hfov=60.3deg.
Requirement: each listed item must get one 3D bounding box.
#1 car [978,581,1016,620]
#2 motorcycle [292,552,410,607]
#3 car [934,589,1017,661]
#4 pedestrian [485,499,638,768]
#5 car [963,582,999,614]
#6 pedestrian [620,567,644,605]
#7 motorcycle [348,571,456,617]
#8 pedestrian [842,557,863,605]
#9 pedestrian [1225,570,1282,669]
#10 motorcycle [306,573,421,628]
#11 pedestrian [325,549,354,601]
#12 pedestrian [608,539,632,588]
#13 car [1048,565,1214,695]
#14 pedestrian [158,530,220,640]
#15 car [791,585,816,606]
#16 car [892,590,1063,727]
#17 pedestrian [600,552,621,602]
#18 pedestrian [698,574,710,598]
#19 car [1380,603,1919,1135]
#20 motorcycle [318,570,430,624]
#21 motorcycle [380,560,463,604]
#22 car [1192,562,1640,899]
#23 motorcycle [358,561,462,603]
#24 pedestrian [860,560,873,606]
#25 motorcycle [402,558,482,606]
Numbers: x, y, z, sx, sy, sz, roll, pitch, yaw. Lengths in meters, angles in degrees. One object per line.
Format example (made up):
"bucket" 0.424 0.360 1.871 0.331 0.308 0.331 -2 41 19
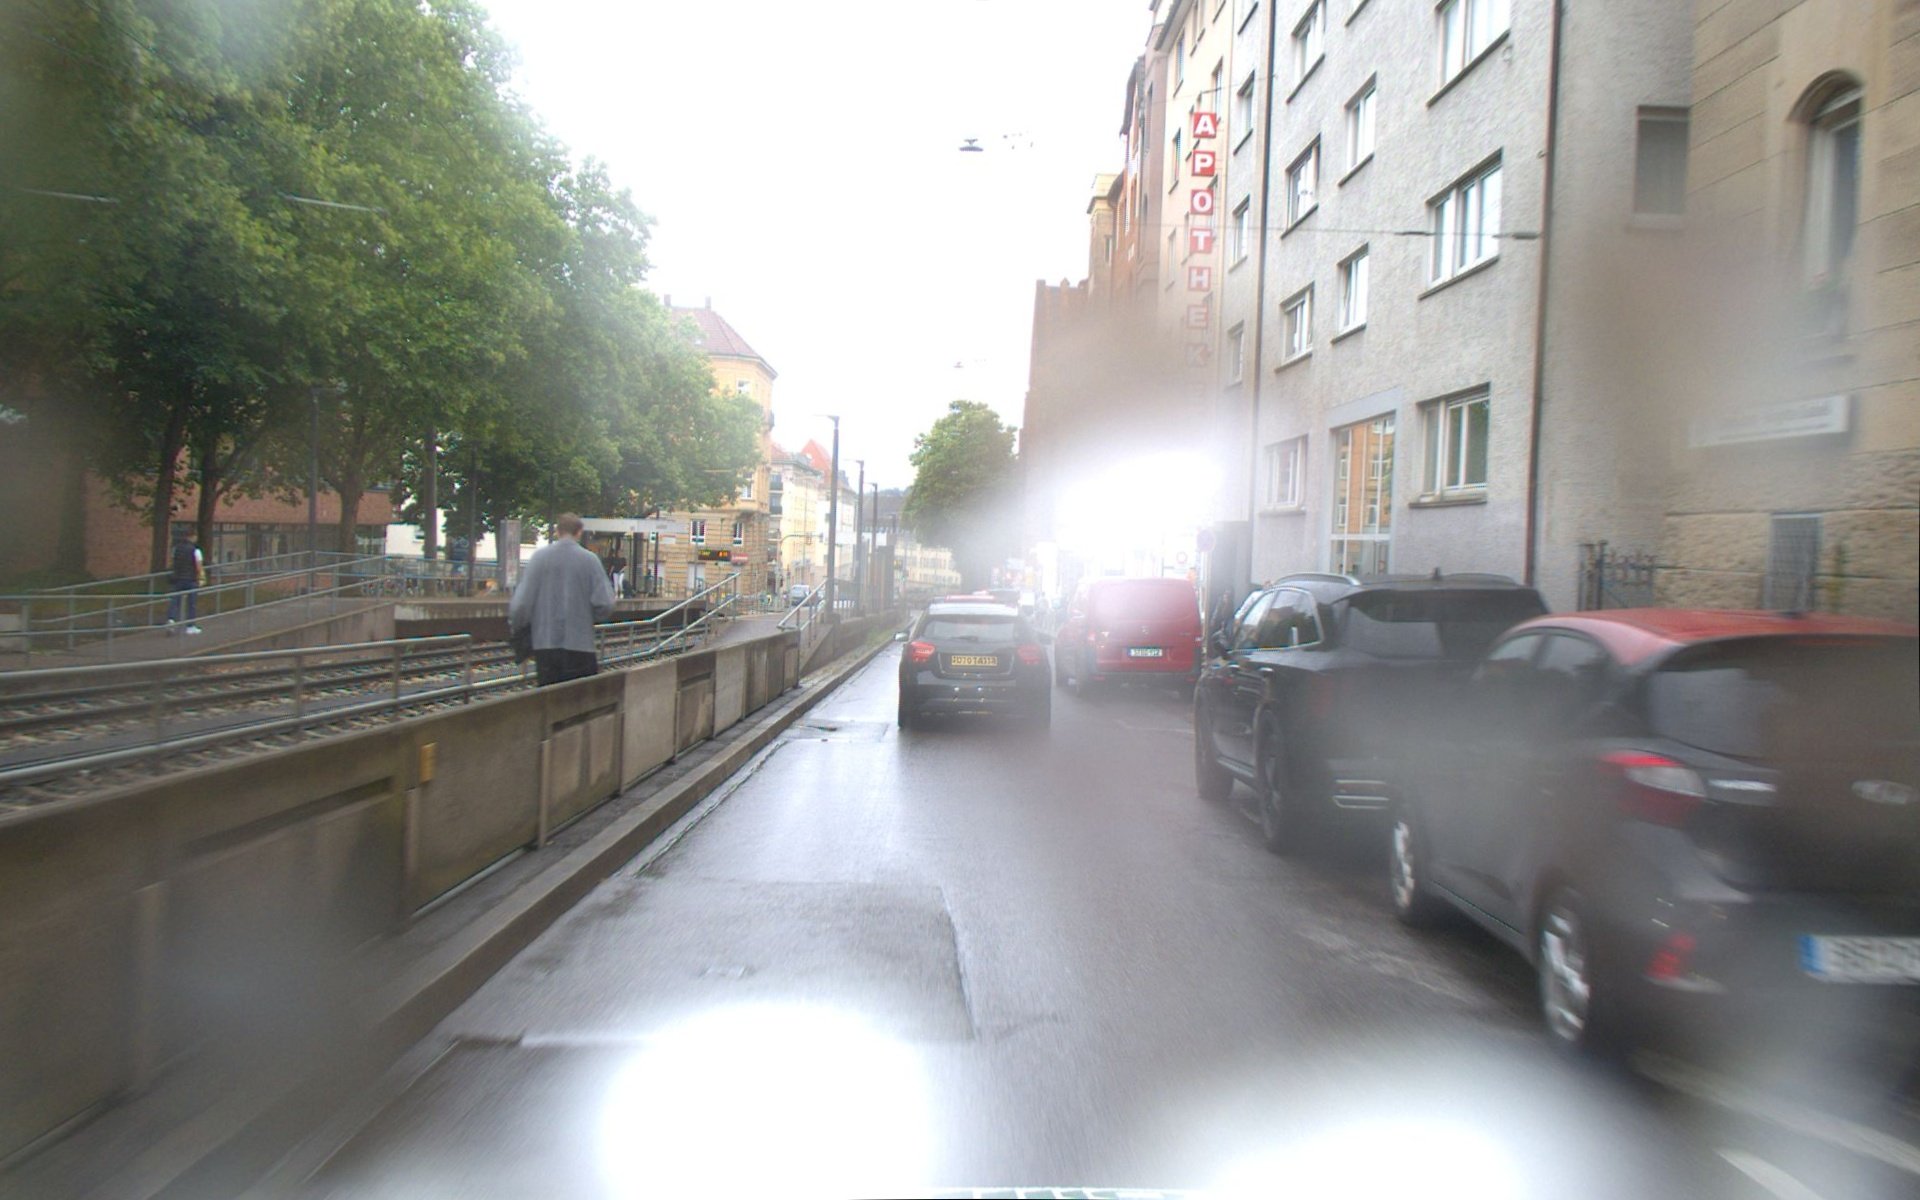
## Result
"car" 1.896 0.038 86.907 1.881 1.969 4.685 2 0 1
"motorcycle" -21.896 -0.726 59.558 3.786 1.805 1.006 2 0 -2
"car" 0.309 0.534 37.229 1.646 1.515 3.611 1 0 -2
"pedestrian" -2.840 0.229 11.854 0.842 1.830 0.787 2 0 -1
"car" 1.253 -0.144 102.265 1.895 1.863 4.278 2 0 -3
"pedestrian" -12.342 -0.546 62.261 0.762 1.386 0.564 3 0 -3
"motorcycle" -21.698 -0.232 64.409 3.786 1.633 1.006 2 0 -2
"pedestrian" -3.745 -0.659 57.699 0.485 1.633 0.637 1 0 16
"pedestrian" 5.487 0.364 30.970 0.834 1.788 0.837 3 0 0
"motorcycle" -22.000 0.014 61.037 3.786 1.847 1.006 2 0 -2
"pedestrian" -24.598 -0.986 65.591 0.718 2.049 0.980 2 0 -1
"pedestrian" -11.852 -1.265 57.668 0.672 1.670 0.564 3 0 -3
"car" 2.671 0.454 27.021 1.935 1.870 5.243 2 0 -2
"pedestrian" -12.284 -0.247 26.360 0.644 1.691 0.688 2 4 -1
"car" -14.370 -0.405 152.302 1.953 1.892 4.000 1 0 0
"car" 0.198 0.630 20.102 1.856 1.414 4.000 1 1 0
"pedestrian" -12.528 -0.837 59.323 0.551 1.745 0.705 3 0 -2
"pedestrian" -19.381 -1.040 125.371 0.745 1.780 0.645 1 0 1
"car" 2.884 0.802 6.621 1.626 1.477 3.611 2 1 3
"motorcycle" -22.009 -0.105 62.186 3.786 1.847 1.006 2 0 -2
"motorcycle" -21.975 -0.730 67.545 2.997 1.656 1.006 2 0 -2
"car" 2.733 0.669 11.022 1.729 1.738 4.499 2 1 0
"motorcycle" -22.070 -0.726 66.408 3.786 1.513 1.006 2 0 -2
"pedestrian" -3.375 -0.606 59.930 0.401 1.633 0.450 2 0 -6
"motorcycle" -21.706 -0.747 69.325 2.975 1.847 0.993 2 0 -2
